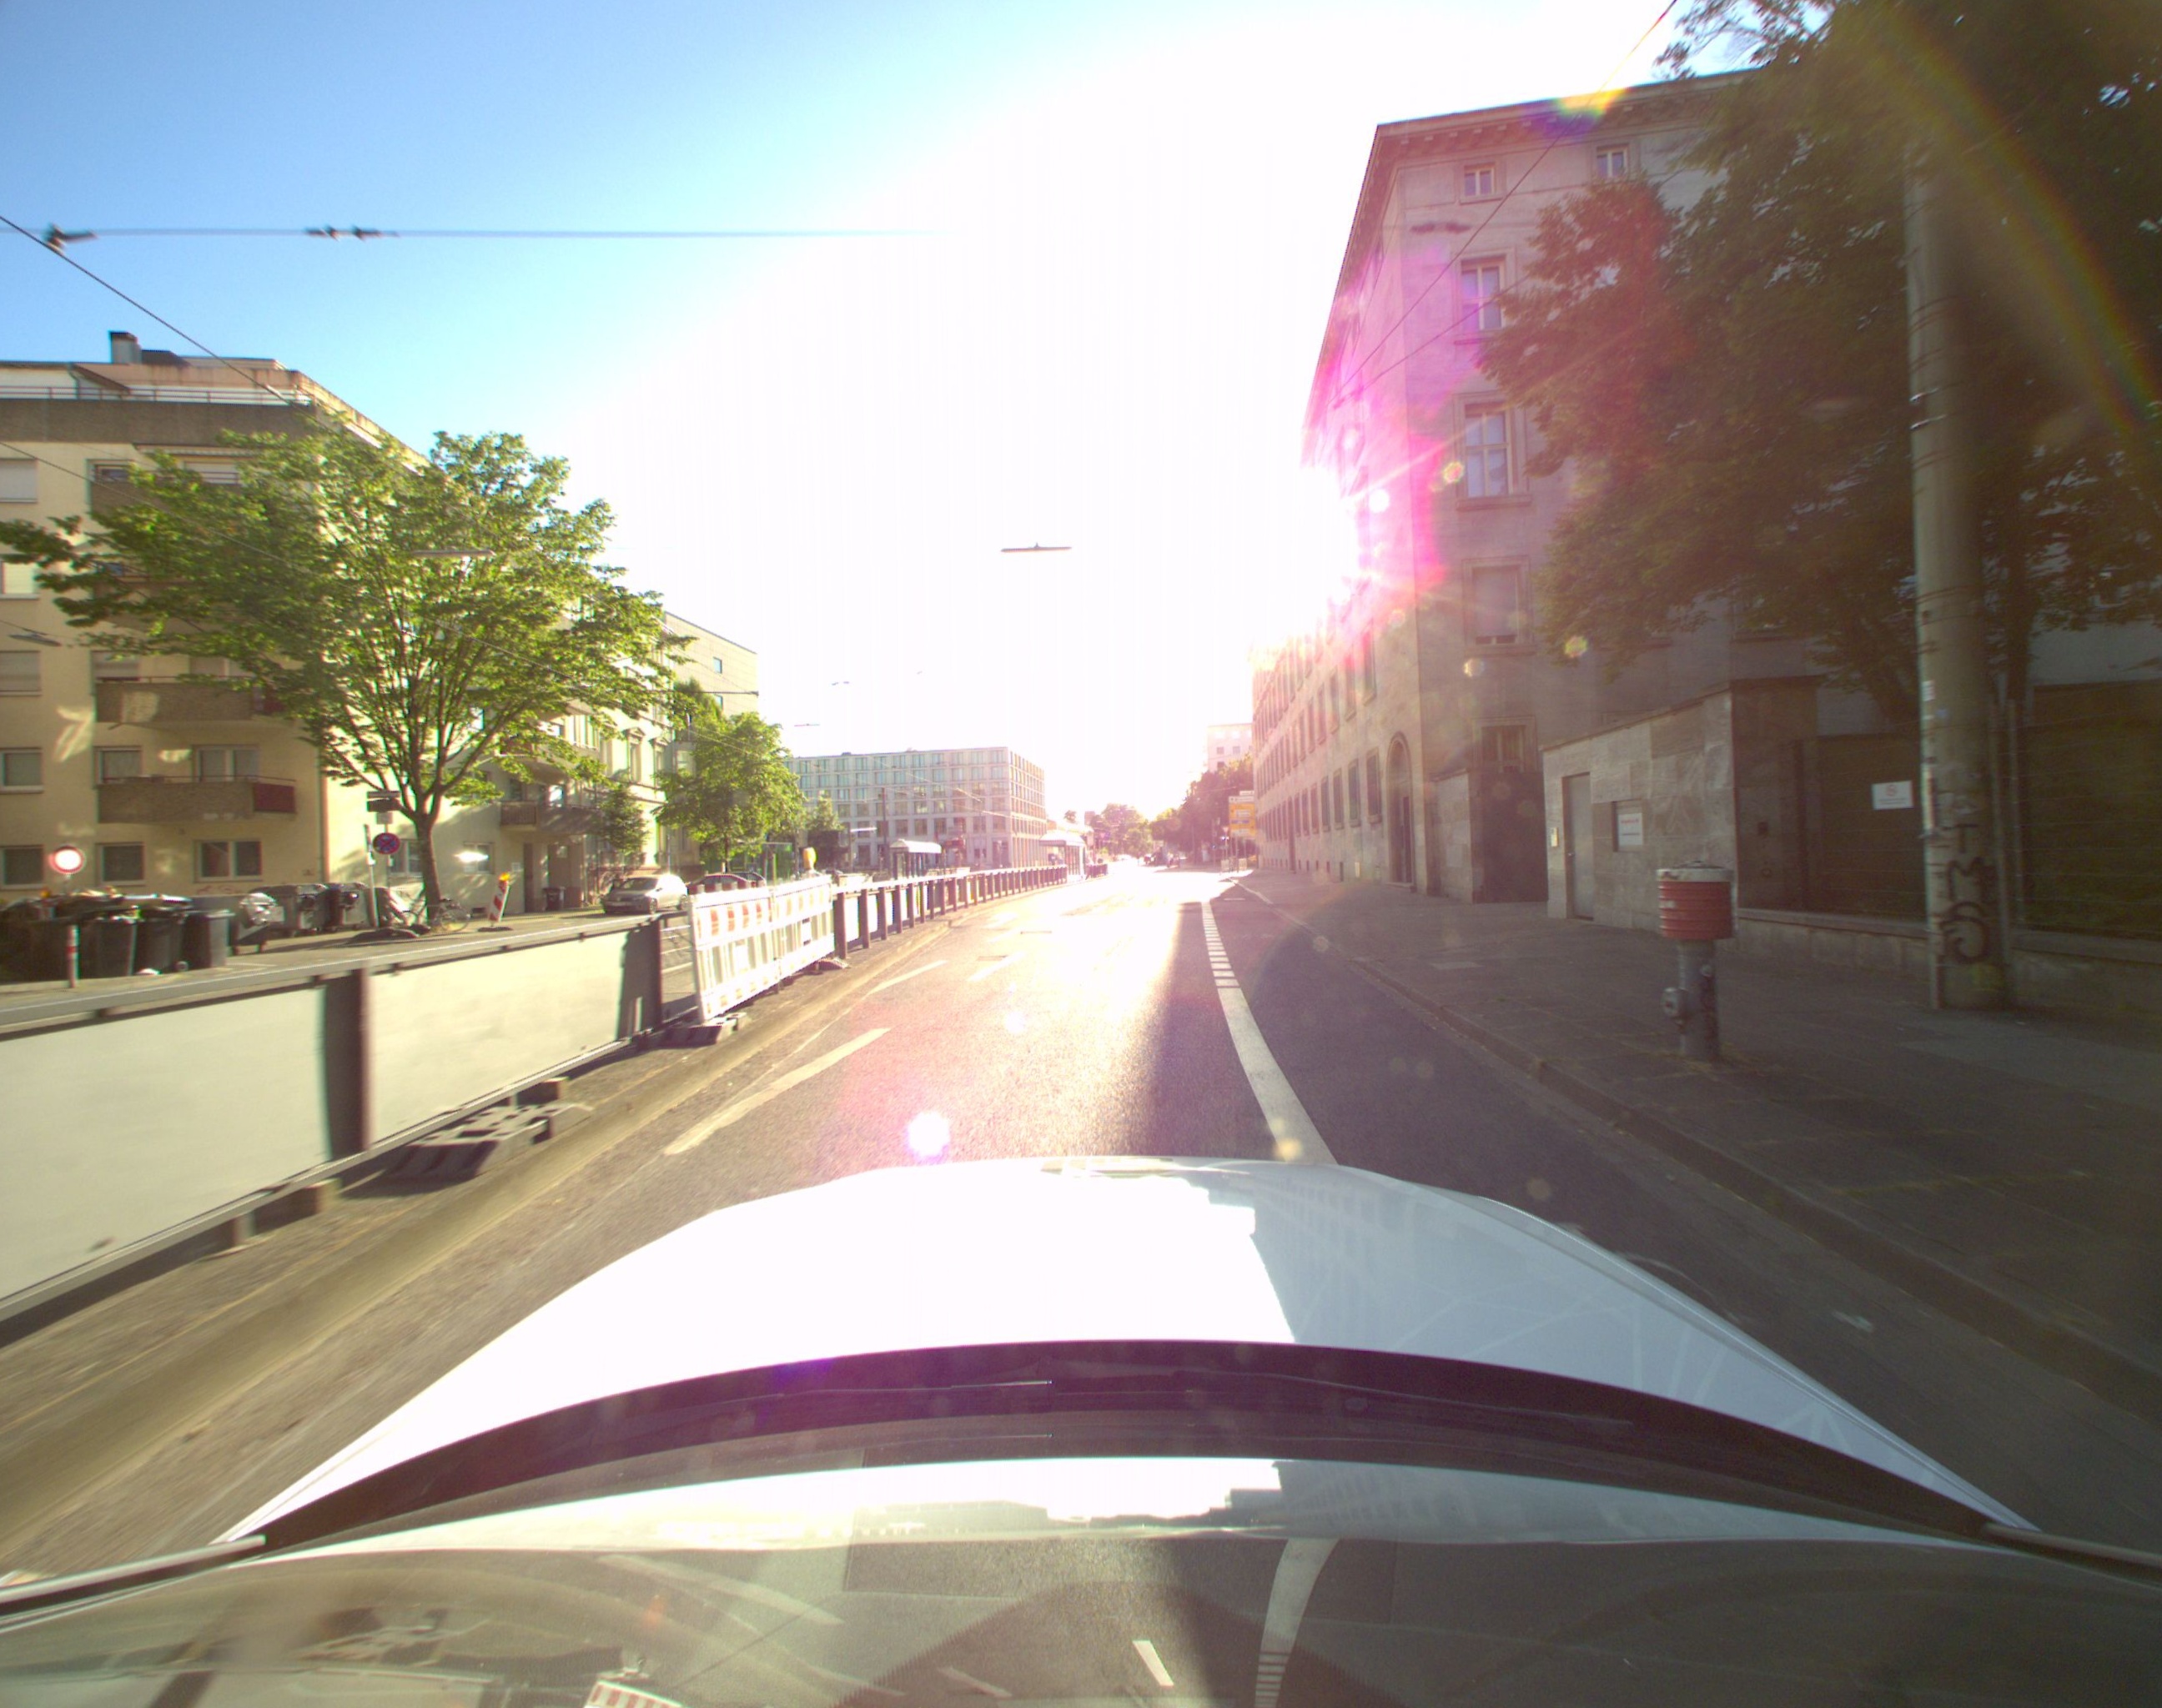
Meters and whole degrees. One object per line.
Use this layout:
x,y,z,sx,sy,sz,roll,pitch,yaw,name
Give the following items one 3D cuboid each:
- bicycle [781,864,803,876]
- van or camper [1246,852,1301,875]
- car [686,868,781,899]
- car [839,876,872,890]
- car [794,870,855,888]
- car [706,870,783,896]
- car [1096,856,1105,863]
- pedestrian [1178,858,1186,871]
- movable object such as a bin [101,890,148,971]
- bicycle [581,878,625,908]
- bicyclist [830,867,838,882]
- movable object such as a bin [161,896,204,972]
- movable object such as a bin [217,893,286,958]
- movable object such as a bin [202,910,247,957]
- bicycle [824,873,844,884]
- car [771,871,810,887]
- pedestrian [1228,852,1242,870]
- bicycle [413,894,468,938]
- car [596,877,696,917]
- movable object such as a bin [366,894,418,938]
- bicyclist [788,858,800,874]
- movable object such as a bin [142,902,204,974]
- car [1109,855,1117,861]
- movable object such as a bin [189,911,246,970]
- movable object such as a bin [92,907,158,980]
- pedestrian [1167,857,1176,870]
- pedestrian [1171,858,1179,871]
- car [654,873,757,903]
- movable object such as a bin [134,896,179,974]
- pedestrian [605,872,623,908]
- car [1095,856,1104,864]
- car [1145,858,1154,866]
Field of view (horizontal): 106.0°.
-31.832,1.766,89.778,2.034,1.288,0.890,-2,-1,13,bicycle
24.374,1.196,103.053,6.663,2.862,2.920,-1,-1,12,van or camper
-19.127,1.598,44.933,4.537,1.642,1.572,0,-2,-38,car
-27.362,3.510,98.747,3.513,1.506,1.525,-1,-1,5,car
-20.532,1.972,65.122,4.523,1.350,1.577,0,-2,-25,car
-21.771,1.872,52.767,4.523,1.570,1.577,0,-2,-25,car
5.113,1.429,212.580,1.809,1.712,3.814,-2,-1,8,car
13.861,1.414,111.897,0.847,1.784,0.778,-2,-1,-8,pedestrian
-17.345,1.376,14.775,0.377,1.427,0.388,-2,-1,7,movable object such as a bin
-24.139,1.920,41.186,0.716,1.398,3.003,-2,-1,-7,bicycle
-26.889,2.201,88.609,0.614,1.582,0.596,-2,-1,15,bicyclist
-17.357,1.544,15.732,0.377,1.427,0.388,-2,-1,7,movable object such as a bin
-19.641,1.669,19.309,0.424,1.458,1.147,-2,-2,1,movable object such as a bin
-19.831,1.828,18.872,0.445,1.034,0.552,-2,-2,1,movable object such as a bin
-26.843,2.699,88.602,1.909,1.122,0.793,-2,-1,15,bicycle
-30.509,2.608,85.545,3.513,1.506,1.525,-1,-1,5,car
14.868,0.657,78.656,1.037,1.721,1.034,-2,-1,-4,pedestrian
-17.708,1.691,22.538,0.262,1.116,1.408,-2,-1,7,bicycle
-17.212,1.663,32.477,1.701,1.410,4.290,0,-1,-1,car
-18.763,1.678,22.198,0.424,1.126,1.147,-2,-1,1,movable object such as a bin
-31.635,1.324,89.746,0.883,1.695,0.847,-2,-1,13,bicyclist
-16.638,1.531,14.931,0.377,1.242,0.641,-2,-1,7,movable object such as a bin
8.736,1.073,223.930,1.809,1.712,3.814,-2,-1,8,car
-16.516,1.645,15.588,0.377,1.068,0.641,-2,-1,7,movable object such as a bin
-16.710,1.551,14.243,0.377,1.203,0.641,-2,-1,7,movable object such as a bin
12.333,1.276,111.131,0.965,1.784,0.778,-2,-1,-9,pedestrian
12.996,1.399,112.994,0.847,1.784,0.778,-2,-1,-8,pedestrian
-19.302,1.728,41.925,4.536,1.426,1.852,0,-2,-37,car
-17.269,1.506,15.217,0.377,1.427,0.386,-2,-1,7,movable object such as a bin
-21.835,1.677,38.091,0.509,1.671,0.490,-2,-1,0,pedestrian
4.574,1.497,201.668,1.809,1.712,3.814,-2,-1,8,car
15.491,1.848,183.581,1.675,1.738,3.516,0,-1,8,car
